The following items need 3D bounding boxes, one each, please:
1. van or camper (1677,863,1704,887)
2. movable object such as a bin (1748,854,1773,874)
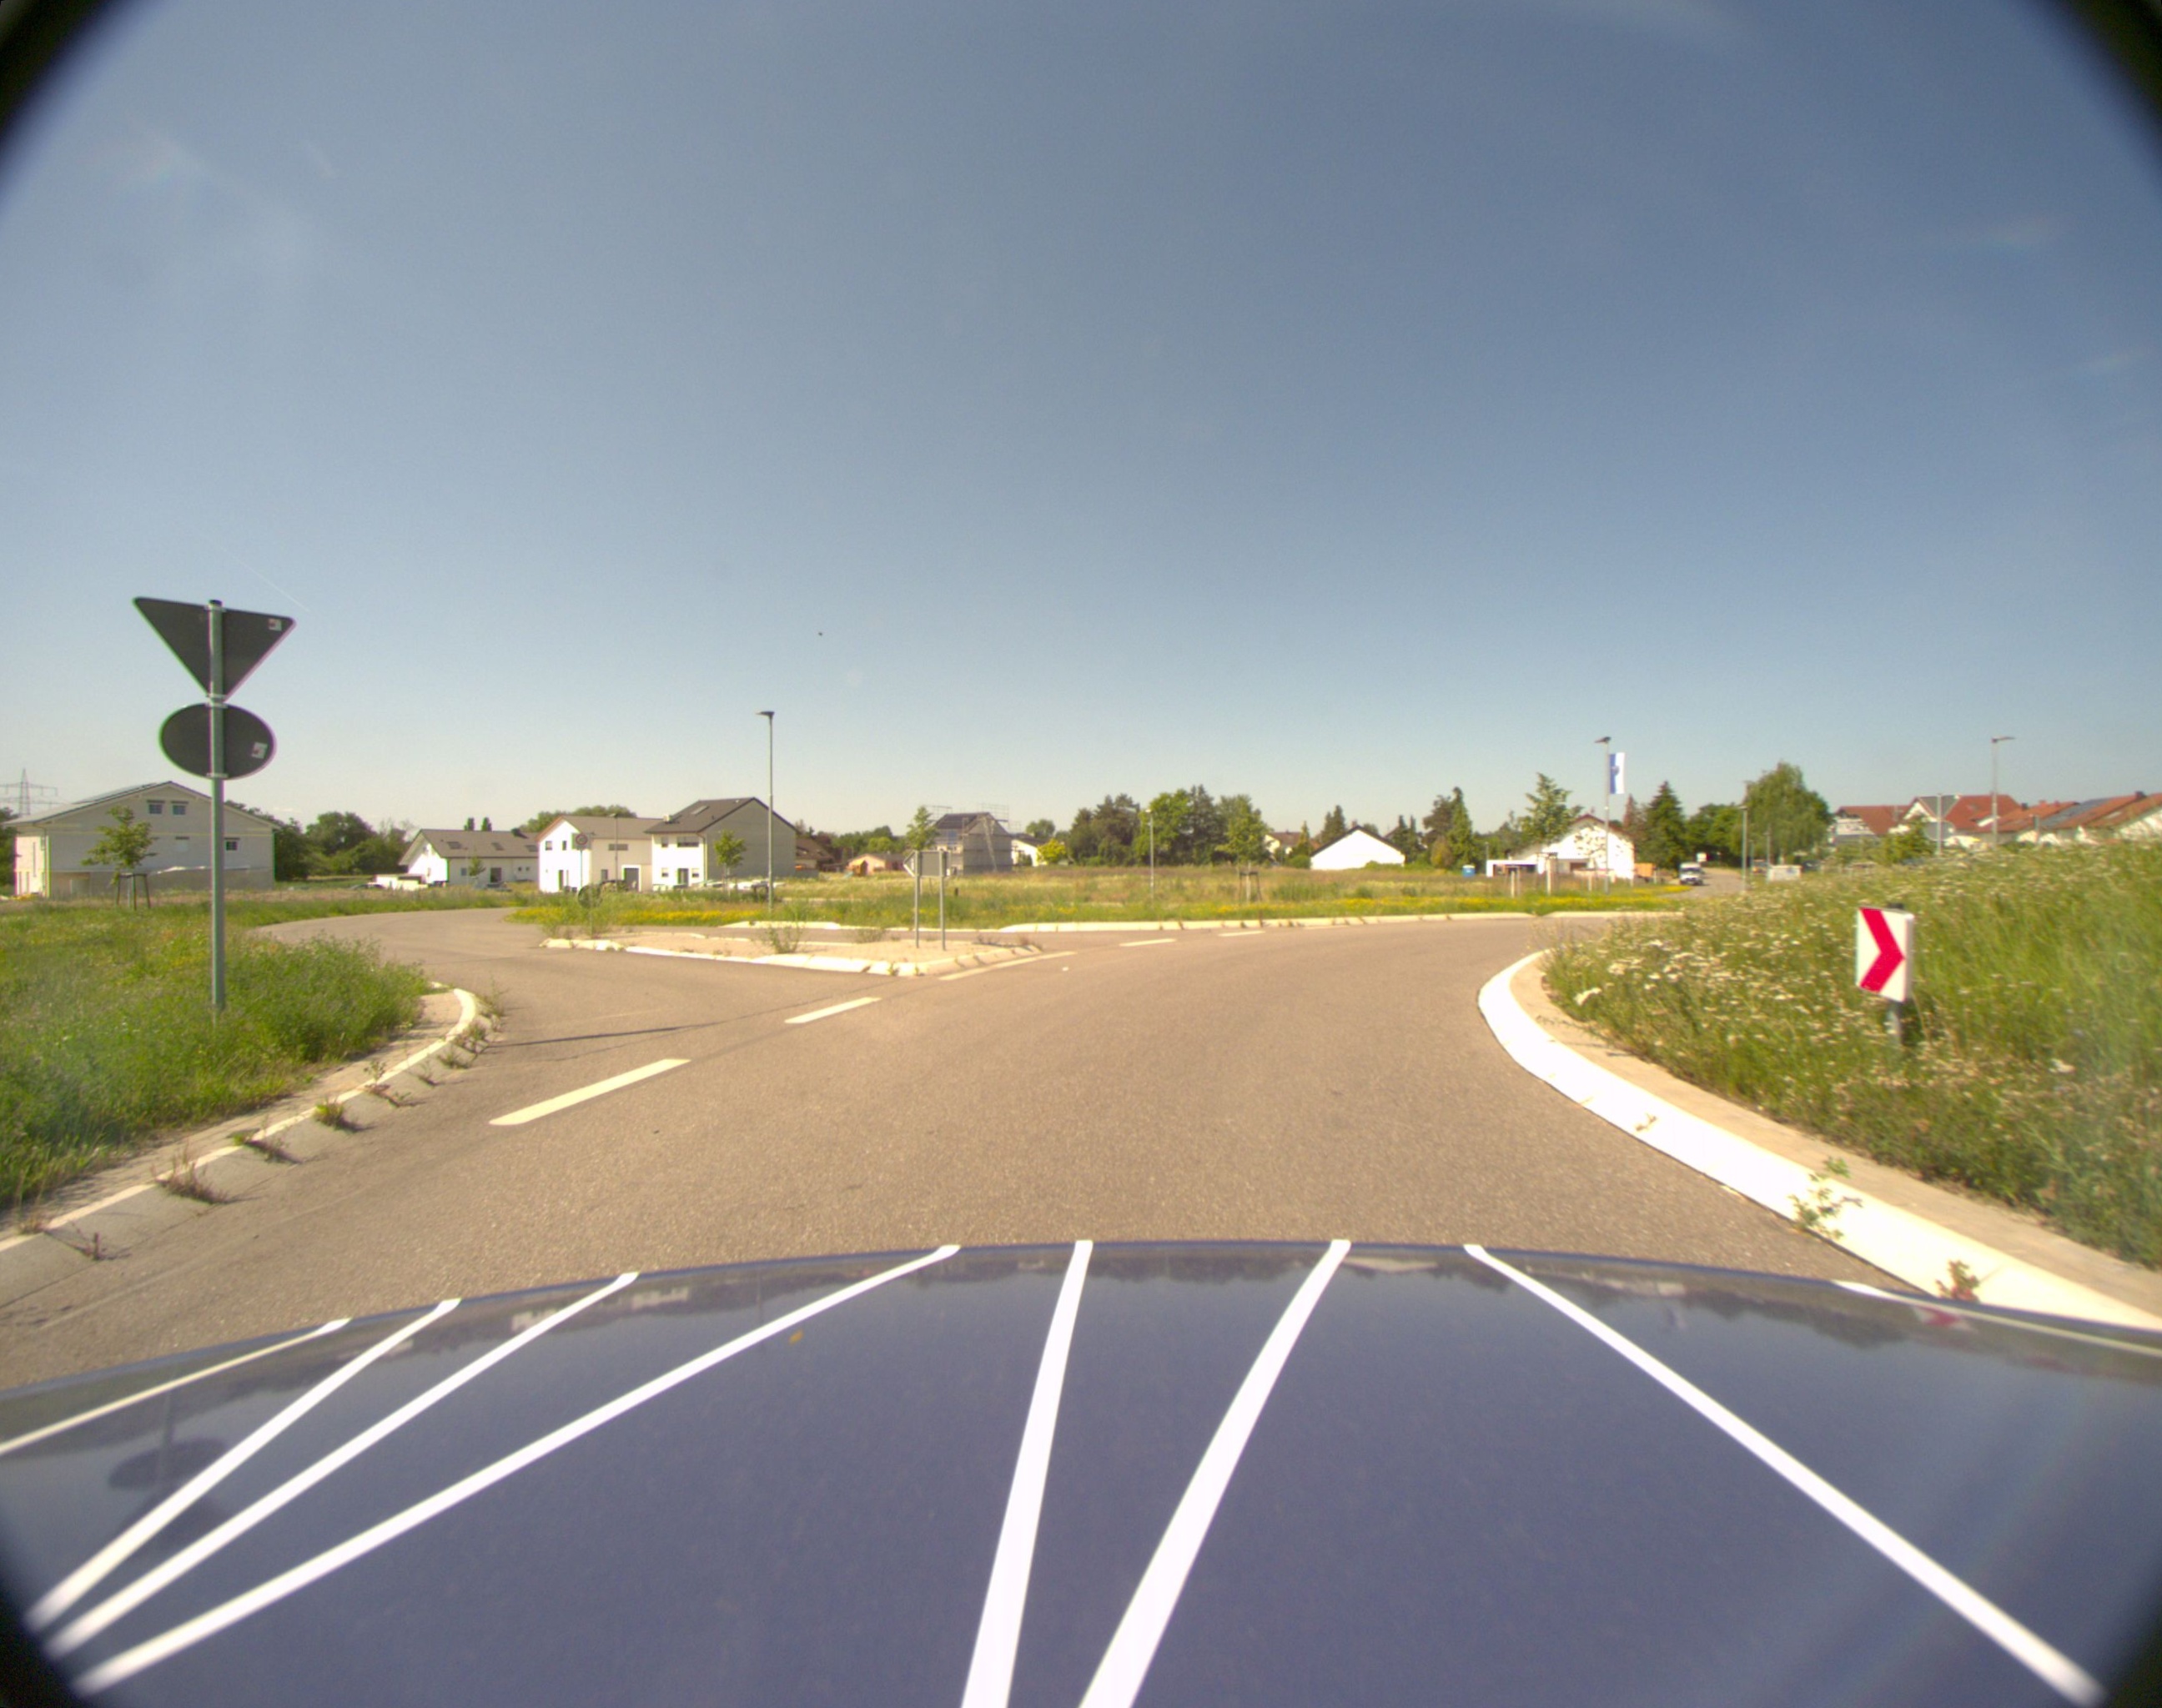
[{"bbox_3d":[68.654,2.322,85.625,2.173,2.585,6.043,-1,-1,37],"label":"van or camper"},{"bbox_3d":[89.998,1.354,100.692,2.317,2.447,6.962,-2,-3,41],"label":"movable object such as a bin"}]
